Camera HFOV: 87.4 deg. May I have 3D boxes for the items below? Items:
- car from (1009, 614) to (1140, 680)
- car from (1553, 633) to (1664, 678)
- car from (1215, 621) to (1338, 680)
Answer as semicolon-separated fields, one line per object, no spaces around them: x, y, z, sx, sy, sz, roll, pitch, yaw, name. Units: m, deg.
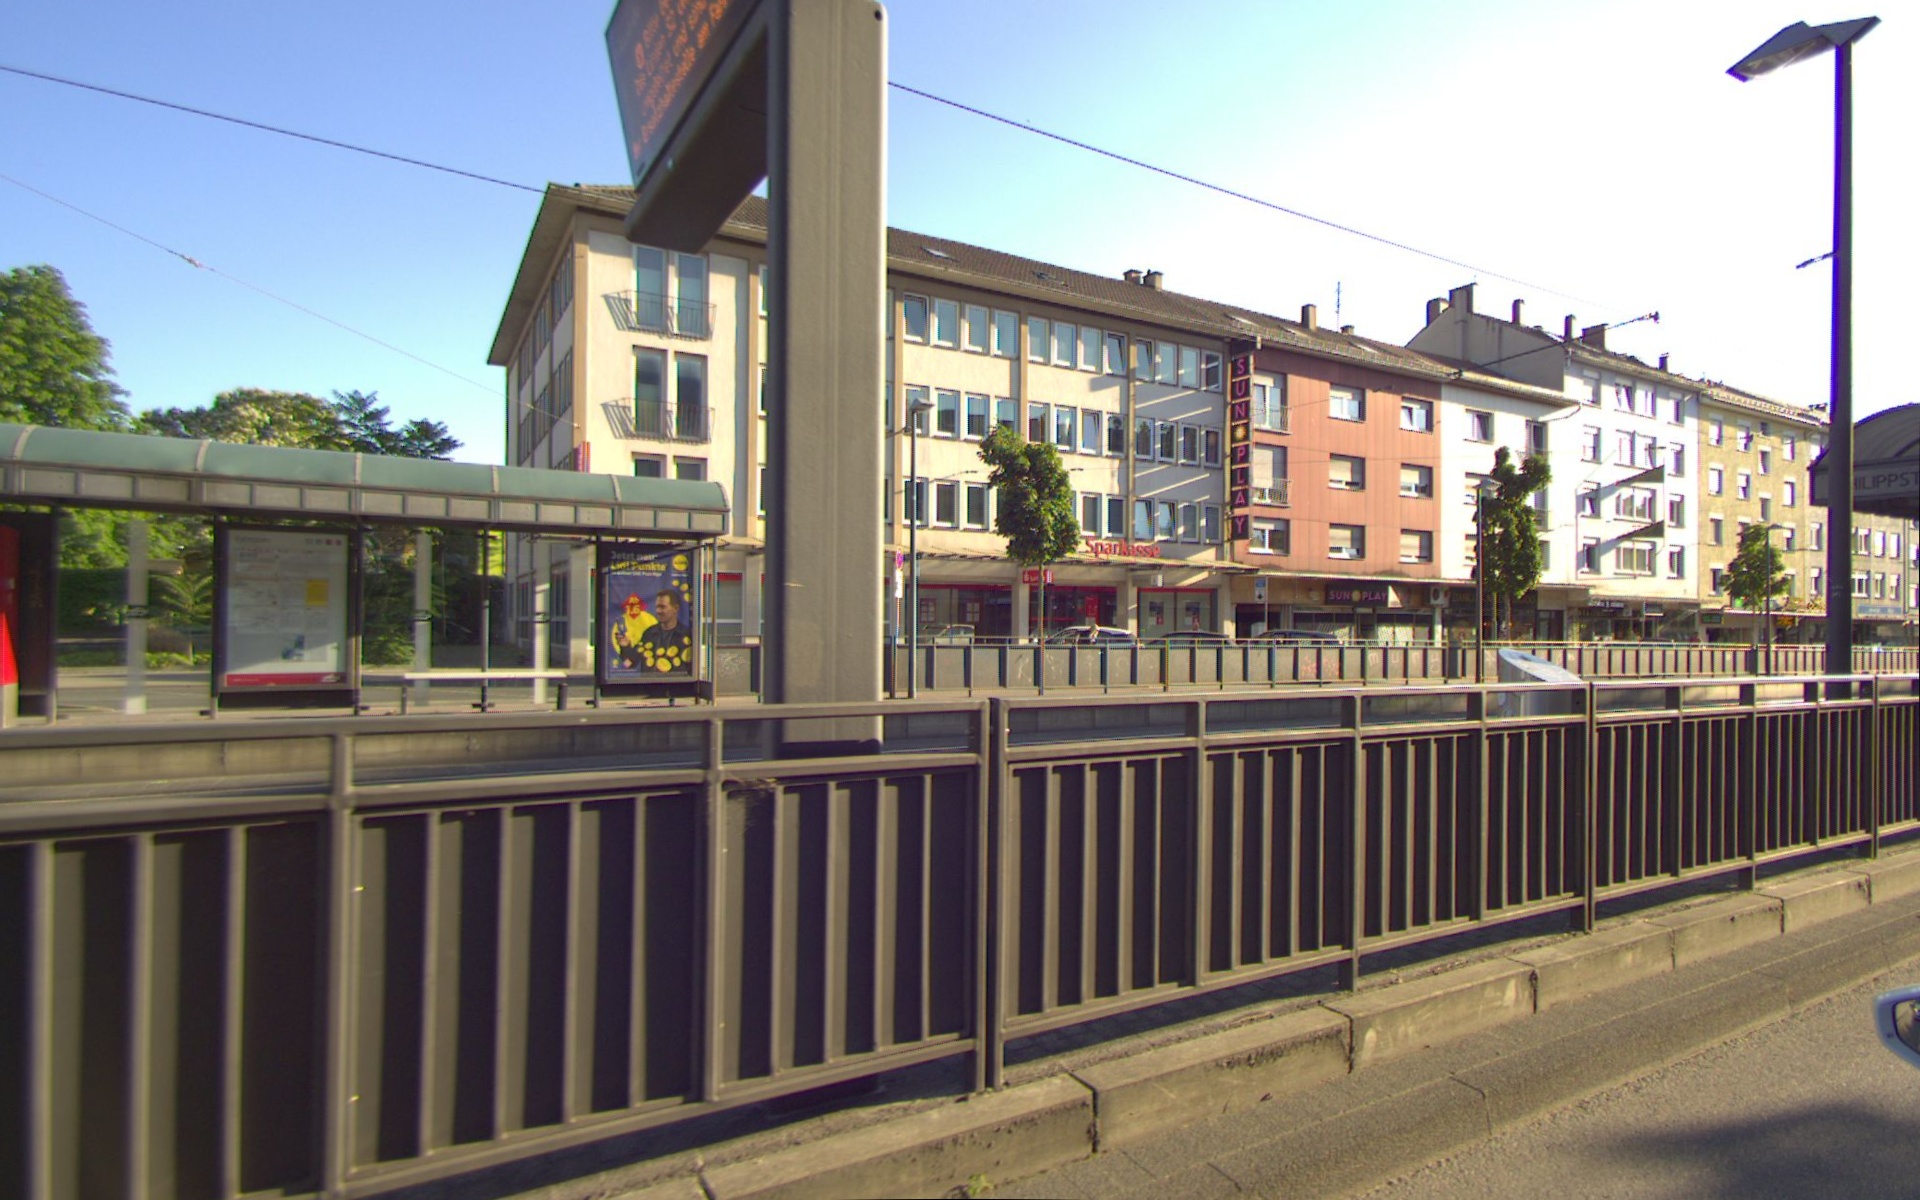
3.211;1.276;27.831;3.439;1.702;1.772;1;-1;12;car
27.128;2.310;42.137;3.440;1.702;1.772;-3;-1;15;car
9.932;1.569;31.509;3.469;1.702;1.757;2;1;-30;car
